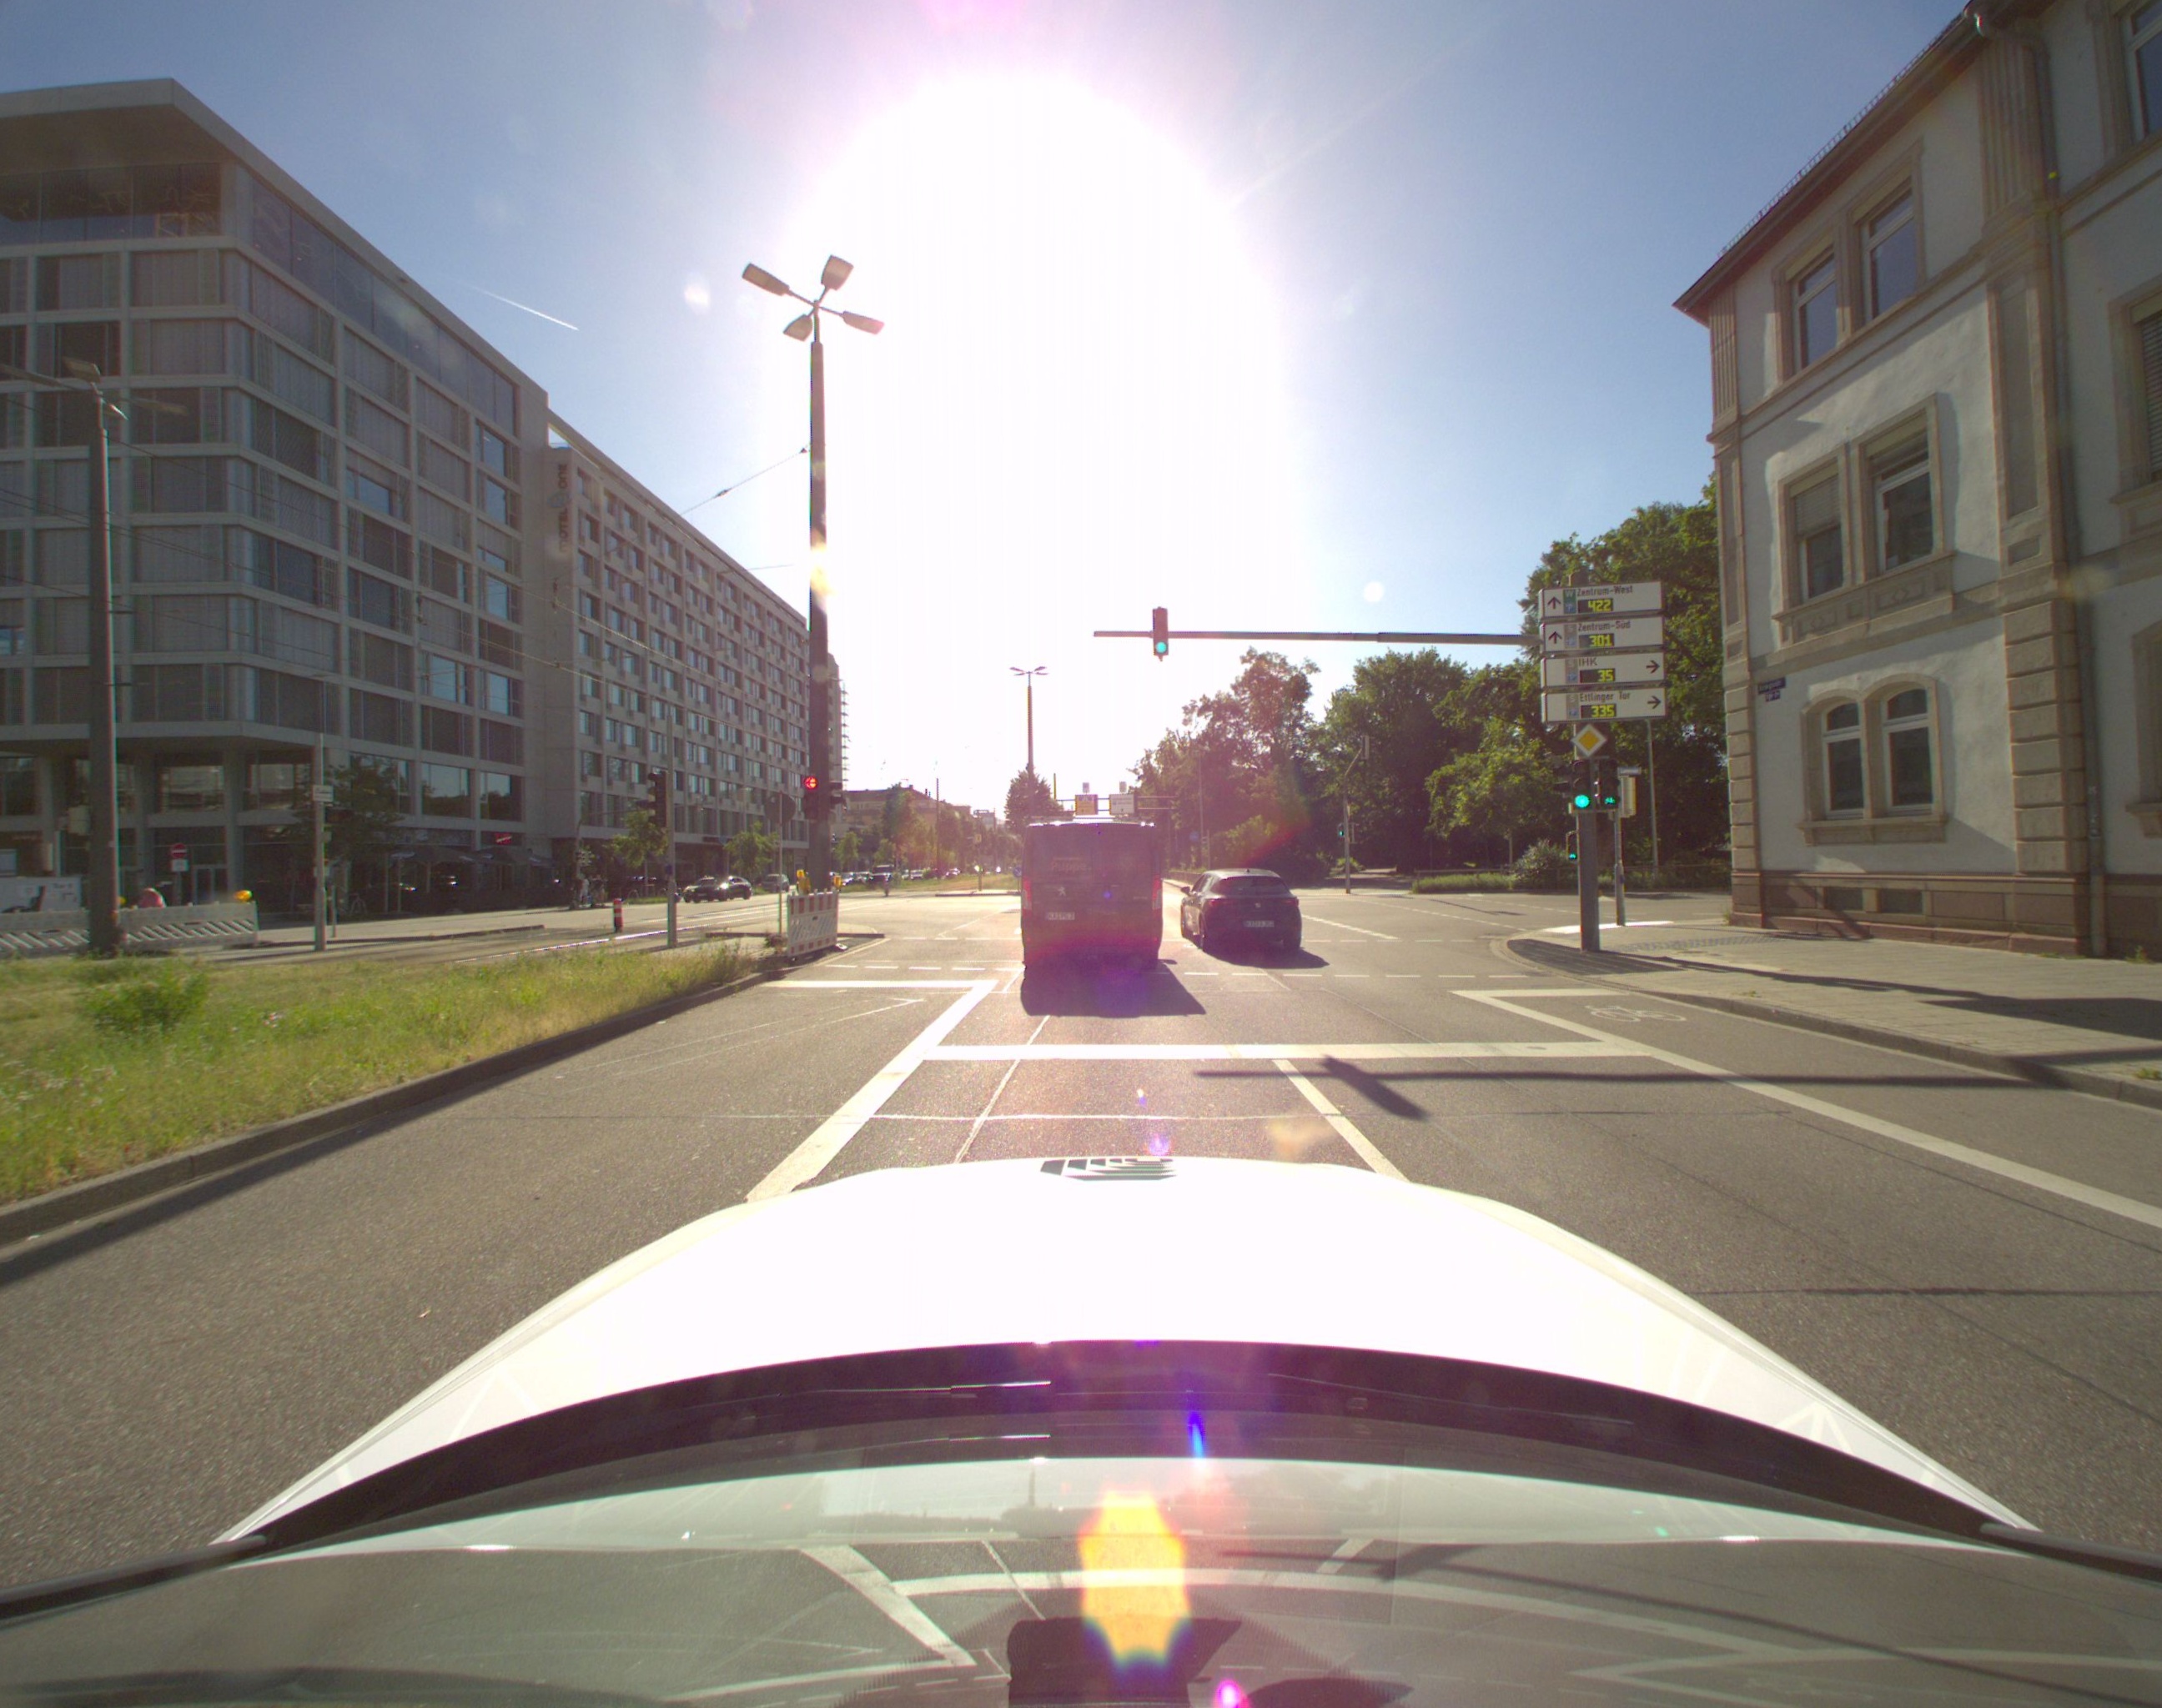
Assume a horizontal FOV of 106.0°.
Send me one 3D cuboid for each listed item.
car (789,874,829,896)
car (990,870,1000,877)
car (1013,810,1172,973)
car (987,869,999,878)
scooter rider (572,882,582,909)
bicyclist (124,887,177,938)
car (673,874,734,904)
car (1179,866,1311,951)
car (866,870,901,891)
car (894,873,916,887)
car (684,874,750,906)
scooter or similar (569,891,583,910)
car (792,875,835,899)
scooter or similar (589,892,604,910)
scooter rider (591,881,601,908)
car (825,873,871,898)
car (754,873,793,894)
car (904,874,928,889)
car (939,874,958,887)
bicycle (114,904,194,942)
[{"bbox_3d":[-22.441,2.566,67.399,1.783,1.651,4.002,-2,-1,2],"label":"car"},{"bbox_3d":[-20.619,4.678,196.316,1.783,1.651,4.002,-2,-1,2],"label":"car"},{"bbox_3d":[0.185,0.533,13.584,2.210,2.267,4.484,0,0,0],"label":"car"},{"bbox_3d":[-17.642,3.829,162.987,1.783,1.651,4.002,-2,-1,2],"label":"car"},{"bbox_3d":[-26.666,2.194,43.099,0.341,1.453,0.239,-2,-1,2],"label":"scooter rider"},{"bbox_3d":[-29.866,1.858,26.147,0.590,1.581,0.894,0,-1,5],"label":"bicyclist"},{"bbox_3d":[-23.336,2.139,50.488,1.783,1.651,4.002,-2,-1,2],"label":"car"},{"bbox_3d":[2.986,0.943,15.614,1.786,1.428,3.849,0,-1,0],"label":"car"},{"bbox_3d":[-16.510,2.187,68.278,1.783,1.651,4.002,-2,-1,2],"label":"car"},{"bbox_3d":[-22.311,3.343,103.480,1.783,1.651,4.002,-2,-1,2],"label":"car"},{"bbox_3d":[-20.666,2.035,46.400,1.783,1.651,4.002,-2,-1,2],"label":"car"},{"bbox_3d":[-26.781,2.473,43.175,0.227,0.947,0.768,-2,-1,2],"label":"scooter or similar"},{"bbox_3d":[-20.071,2.478,61.312,1.783,1.651,4.002,-2,-1,2],"label":"car"},{"bbox_3d":[-27.045,2.636,45.485,0.284,0.947,0.769,-2,-1,9],"label":"scooter or similar"},{"bbox_3d":[-27.051,2.264,45.427,0.341,1.453,0.239,-2,-1,2],"label":"scooter rider"},{"bbox_3d":[-16.547,2.198,58.042,1.783,1.651,4.337,-2,-1,2],"label":"car"},{"bbox_3d":[-27.268,2.597,72.309,1.783,1.651,4.002,-2,-1,2],"label":"car"},{"bbox_3d":[-18.947,3.130,93.726,1.783,1.651,4.002,-2,-1,2],"label":"car"},{"bbox_3d":[-18.249,3.572,112.118,1.783,1.651,4.002,-2,-1,2],"label":"car"},{"bbox_3d":[-29.734,2.202,26.158,0.584,1.100,1.625,0,-1,6],"label":"bicycle"}]
